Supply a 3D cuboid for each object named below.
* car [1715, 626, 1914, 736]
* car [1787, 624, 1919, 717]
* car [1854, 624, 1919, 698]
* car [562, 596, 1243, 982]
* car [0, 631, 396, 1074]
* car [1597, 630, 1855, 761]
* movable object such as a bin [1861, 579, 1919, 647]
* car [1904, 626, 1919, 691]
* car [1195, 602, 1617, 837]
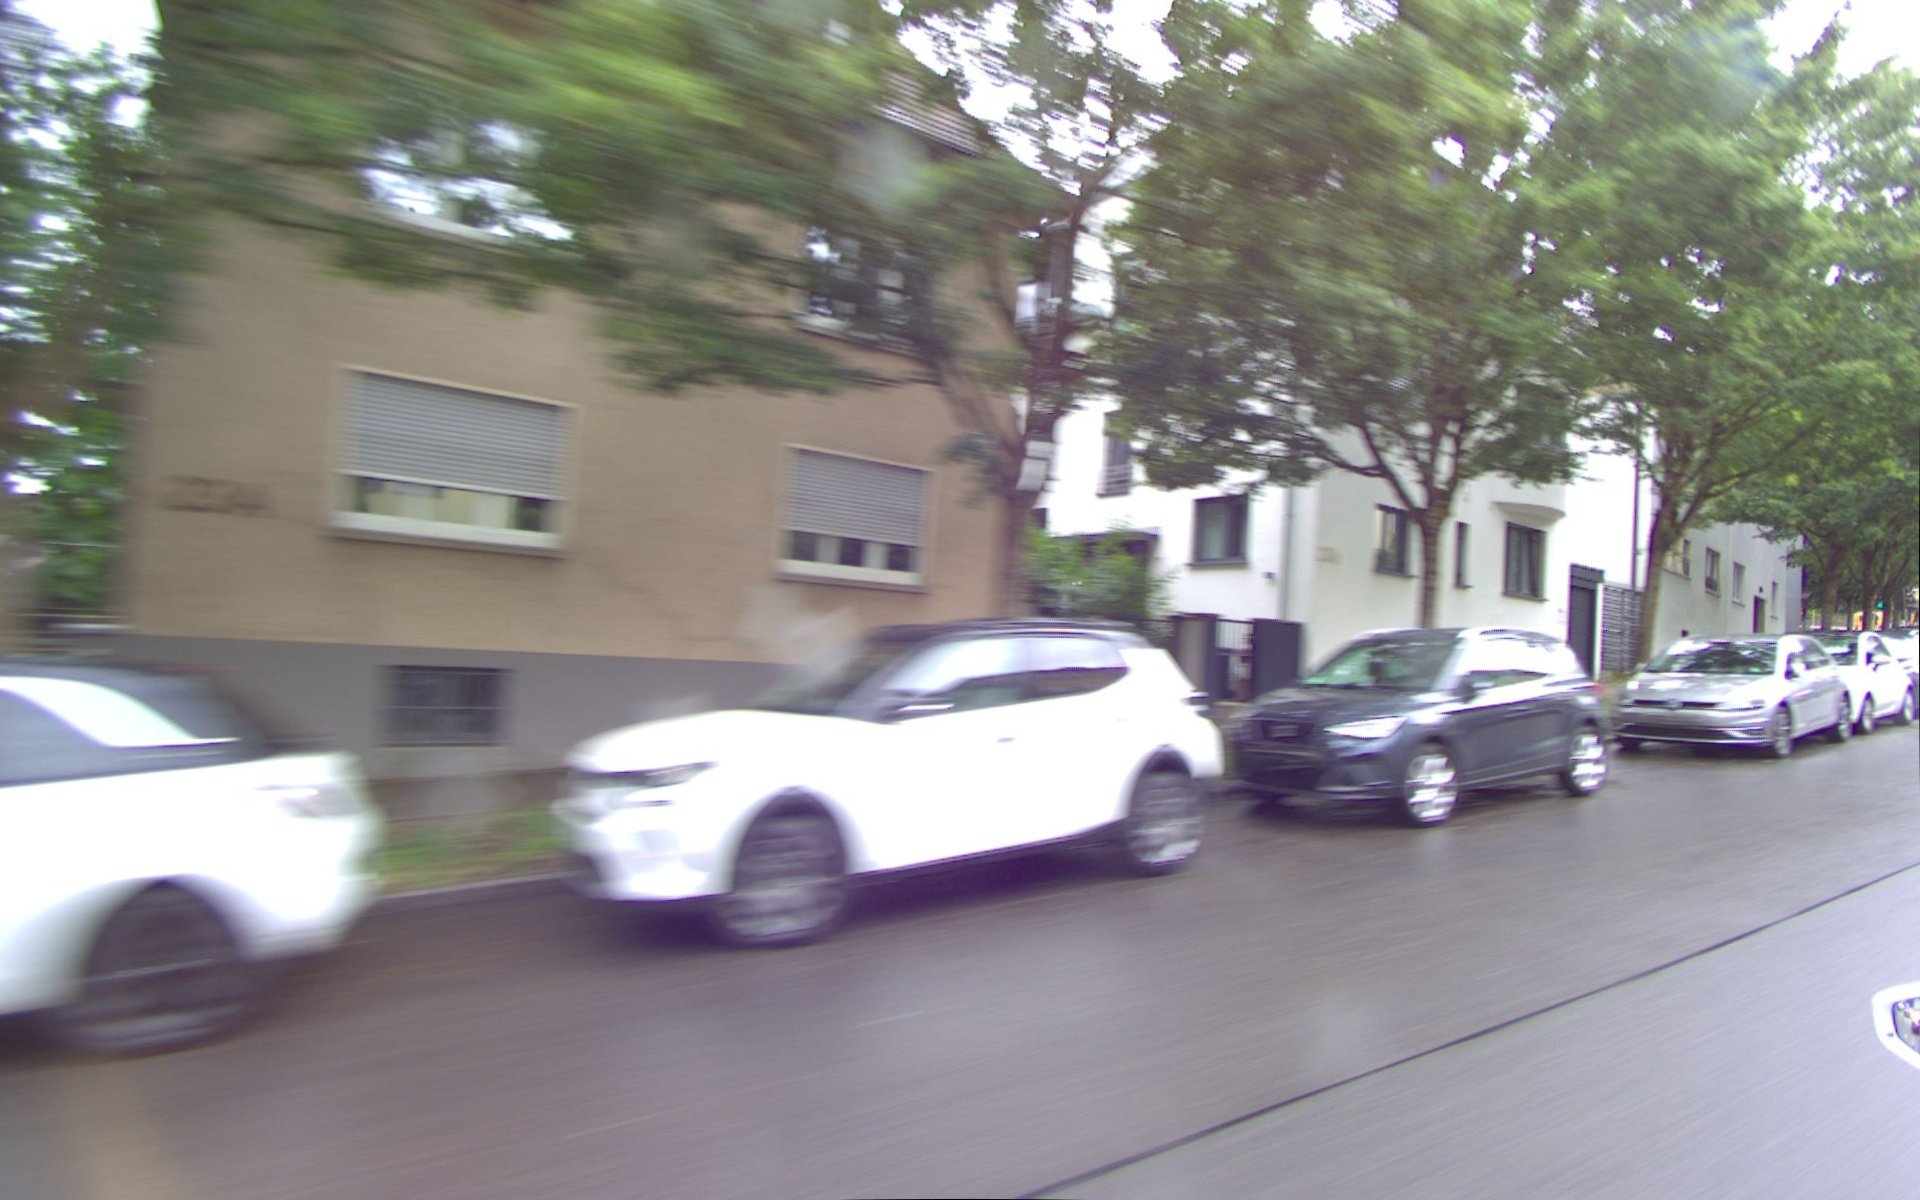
[{"bbox_3d":[13.336,1.204,15.633,3.437,1.508,1.564,1,-4,-37],"label":"car"},{"bbox_3d":[16.877,1.268,18.338,4.432,1.507,1.653,2,-5,-36],"label":"car"},{"bbox_3d":[21.065,1.328,22.016,3.353,1.530,1.544,2,-5,-38],"label":"car"},{"bbox_3d":[-0.239,0.947,6.156,3.881,1.679,1.584,2,-6,-33],"label":"car"},{"bbox_3d":[-4.268,0.923,3.807,3.621,1.489,1.613,1,-6,-28],"label":"car"},{"bbox_3d":[10.157,1.191,13.234,3.934,1.489,1.607,2,-5,-36],"label":"car"},{"bbox_3d":[59.632,0.805,61.543,2.771,4.068,7.330,1,0,6],"label":"movable object such as a bin"},{"bbox_3d":[24.170,1.394,24.157,4.063,1.507,1.543,2,-5,-39],"label":"car"},{"bbox_3d":[4.073,0.970,8.995,3.884,1.679,1.608,2,-5,-35],"label":"car"}]
